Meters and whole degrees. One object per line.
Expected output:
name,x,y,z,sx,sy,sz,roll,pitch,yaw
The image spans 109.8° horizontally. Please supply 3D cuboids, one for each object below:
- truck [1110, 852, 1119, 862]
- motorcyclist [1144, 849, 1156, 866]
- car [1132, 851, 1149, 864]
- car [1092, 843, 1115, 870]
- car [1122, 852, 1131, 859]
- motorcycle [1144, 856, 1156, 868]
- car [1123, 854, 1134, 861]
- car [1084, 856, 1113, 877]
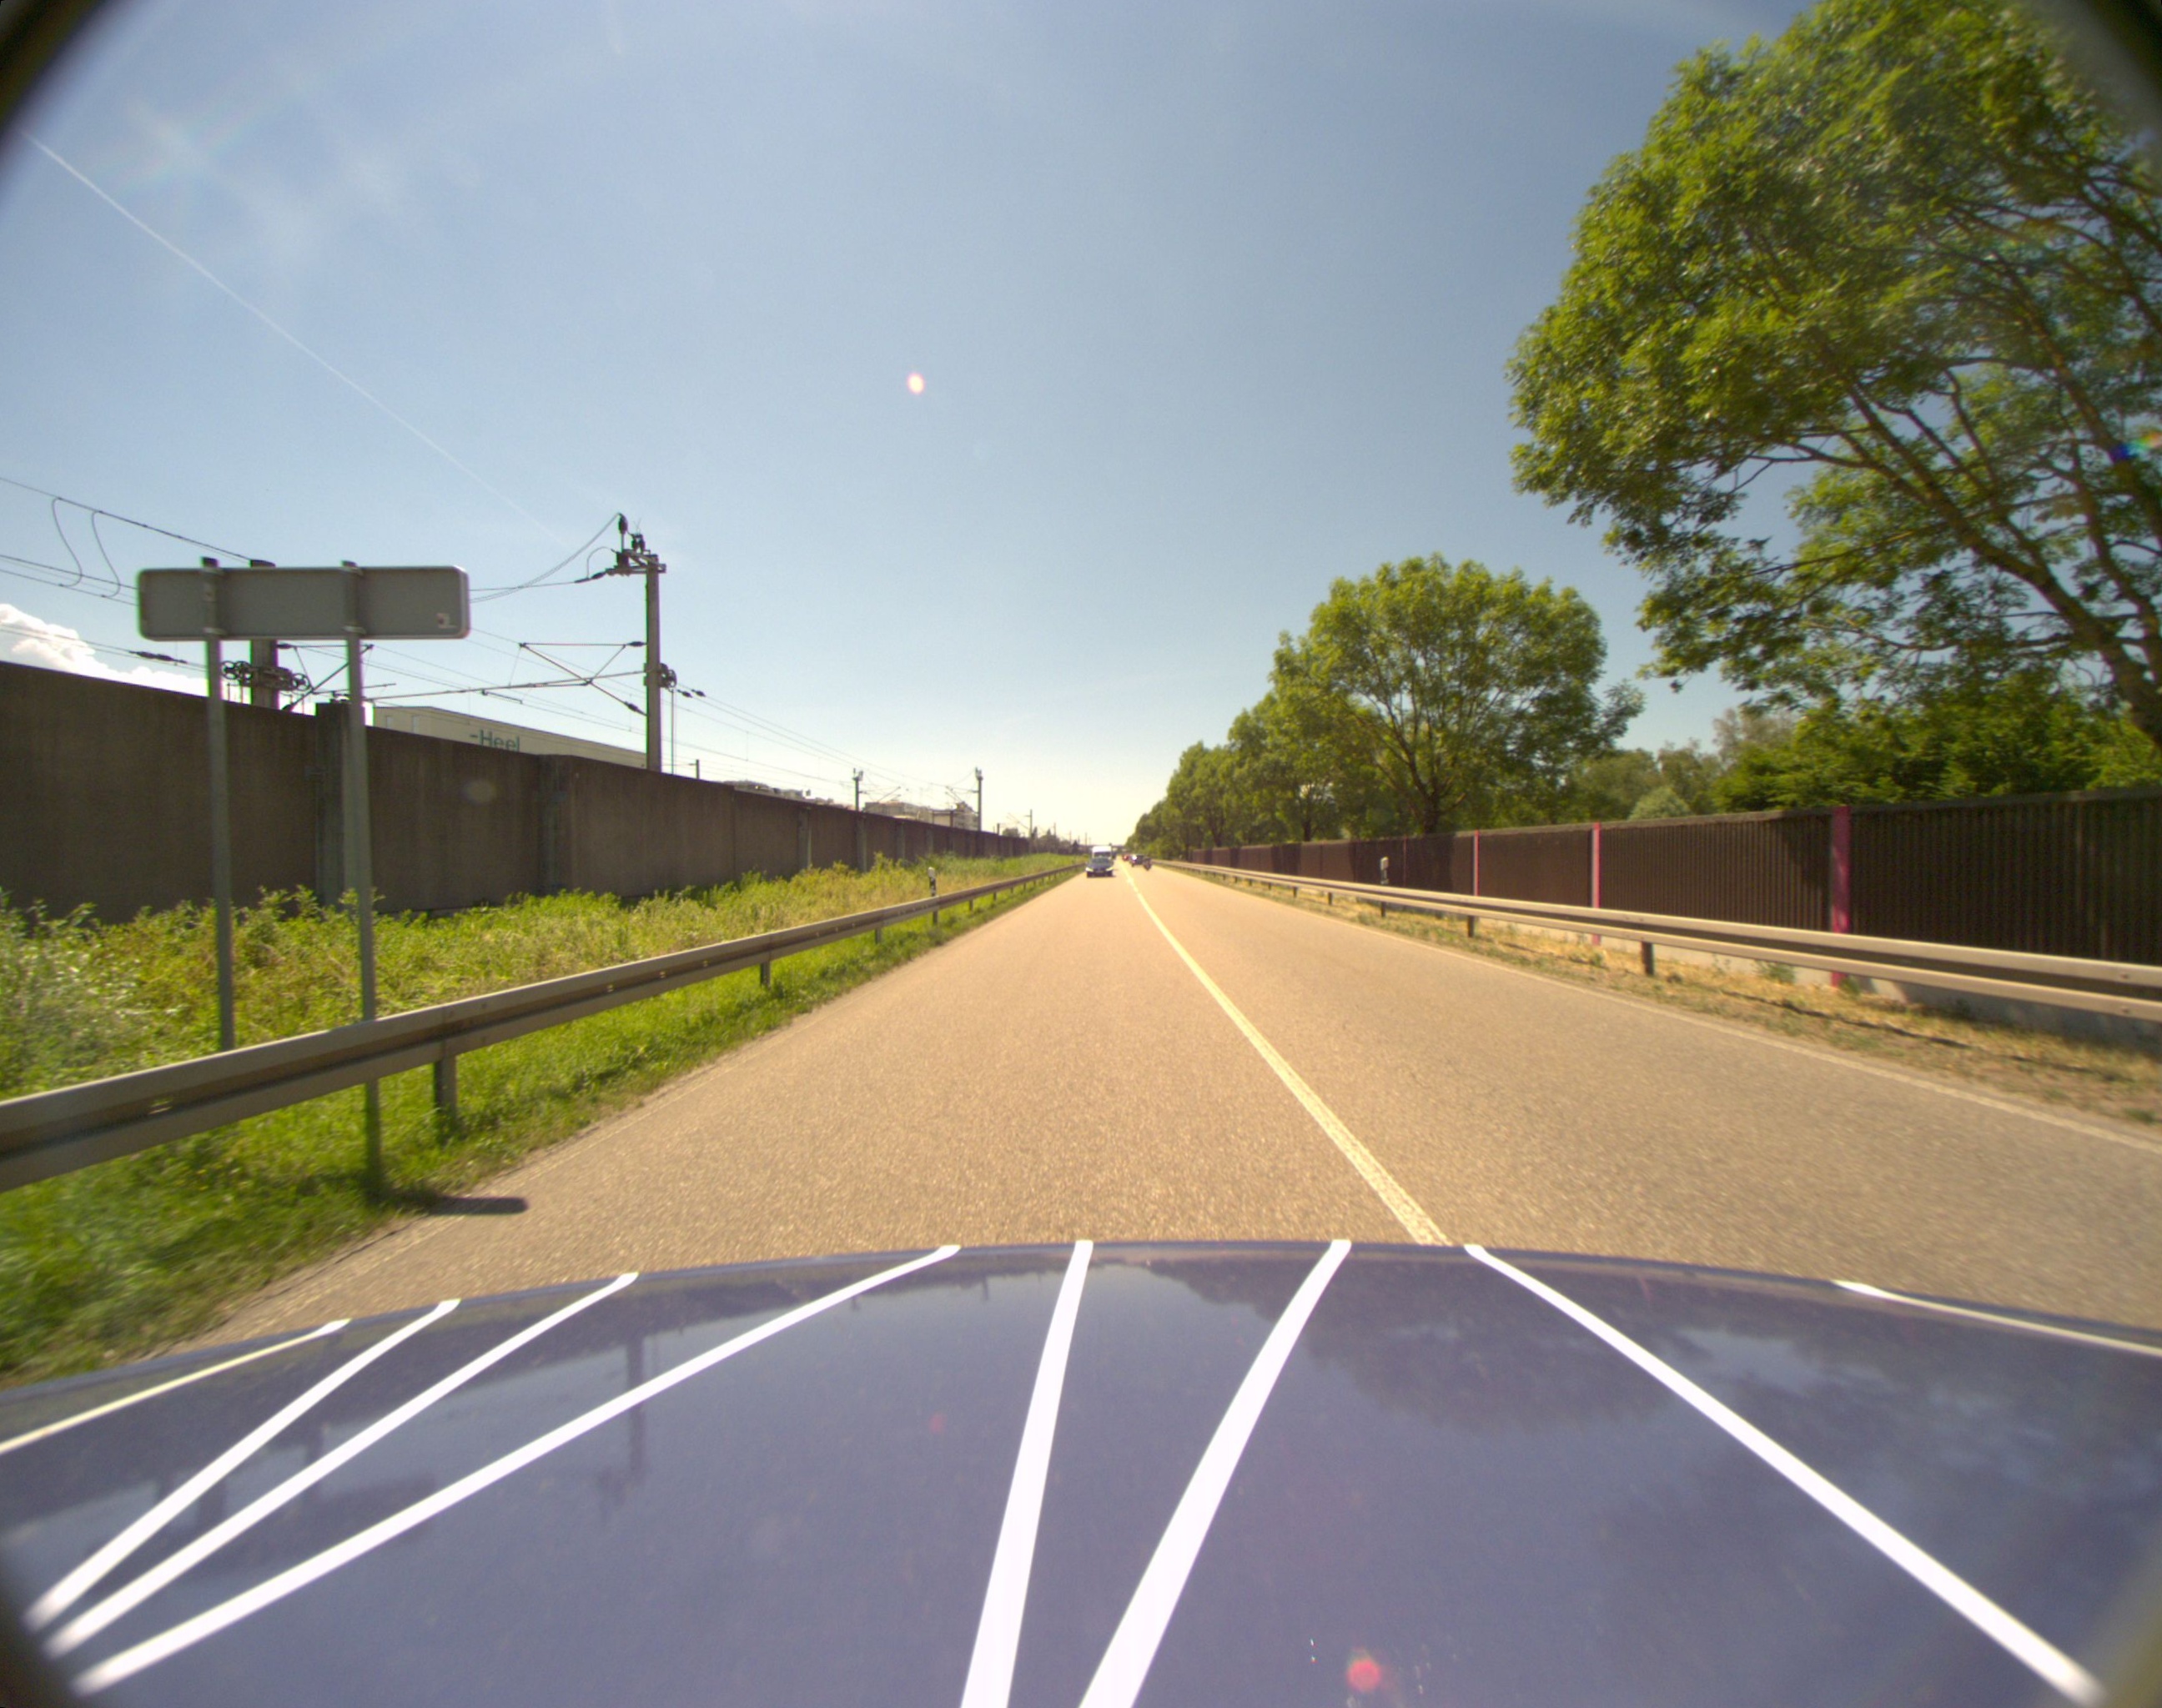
truck,10.508,0.771,241.492,2.616,3.024,10.656,-1,1,2
motorcyclist,6.358,0.355,70.352,0.951,1.536,1.214,-2,1,1
car,7.275,0.365,93.260,1.757,1.499,4.529,-2,0,2
car,2.391,0.199,78.690,2.193,2.589,6.751,-2,0,2
car,9.668,0.323,160.690,1.757,1.308,4.530,-2,0,3
motorcycle,6.378,0.736,70.241,0.951,1.023,2.385,-2,0,2
car,7.953,0.576,127.557,1.757,1.225,4.529,-2,0,2
car,1.289,0.845,53.955,1.861,1.371,4.504,-2,0,3
